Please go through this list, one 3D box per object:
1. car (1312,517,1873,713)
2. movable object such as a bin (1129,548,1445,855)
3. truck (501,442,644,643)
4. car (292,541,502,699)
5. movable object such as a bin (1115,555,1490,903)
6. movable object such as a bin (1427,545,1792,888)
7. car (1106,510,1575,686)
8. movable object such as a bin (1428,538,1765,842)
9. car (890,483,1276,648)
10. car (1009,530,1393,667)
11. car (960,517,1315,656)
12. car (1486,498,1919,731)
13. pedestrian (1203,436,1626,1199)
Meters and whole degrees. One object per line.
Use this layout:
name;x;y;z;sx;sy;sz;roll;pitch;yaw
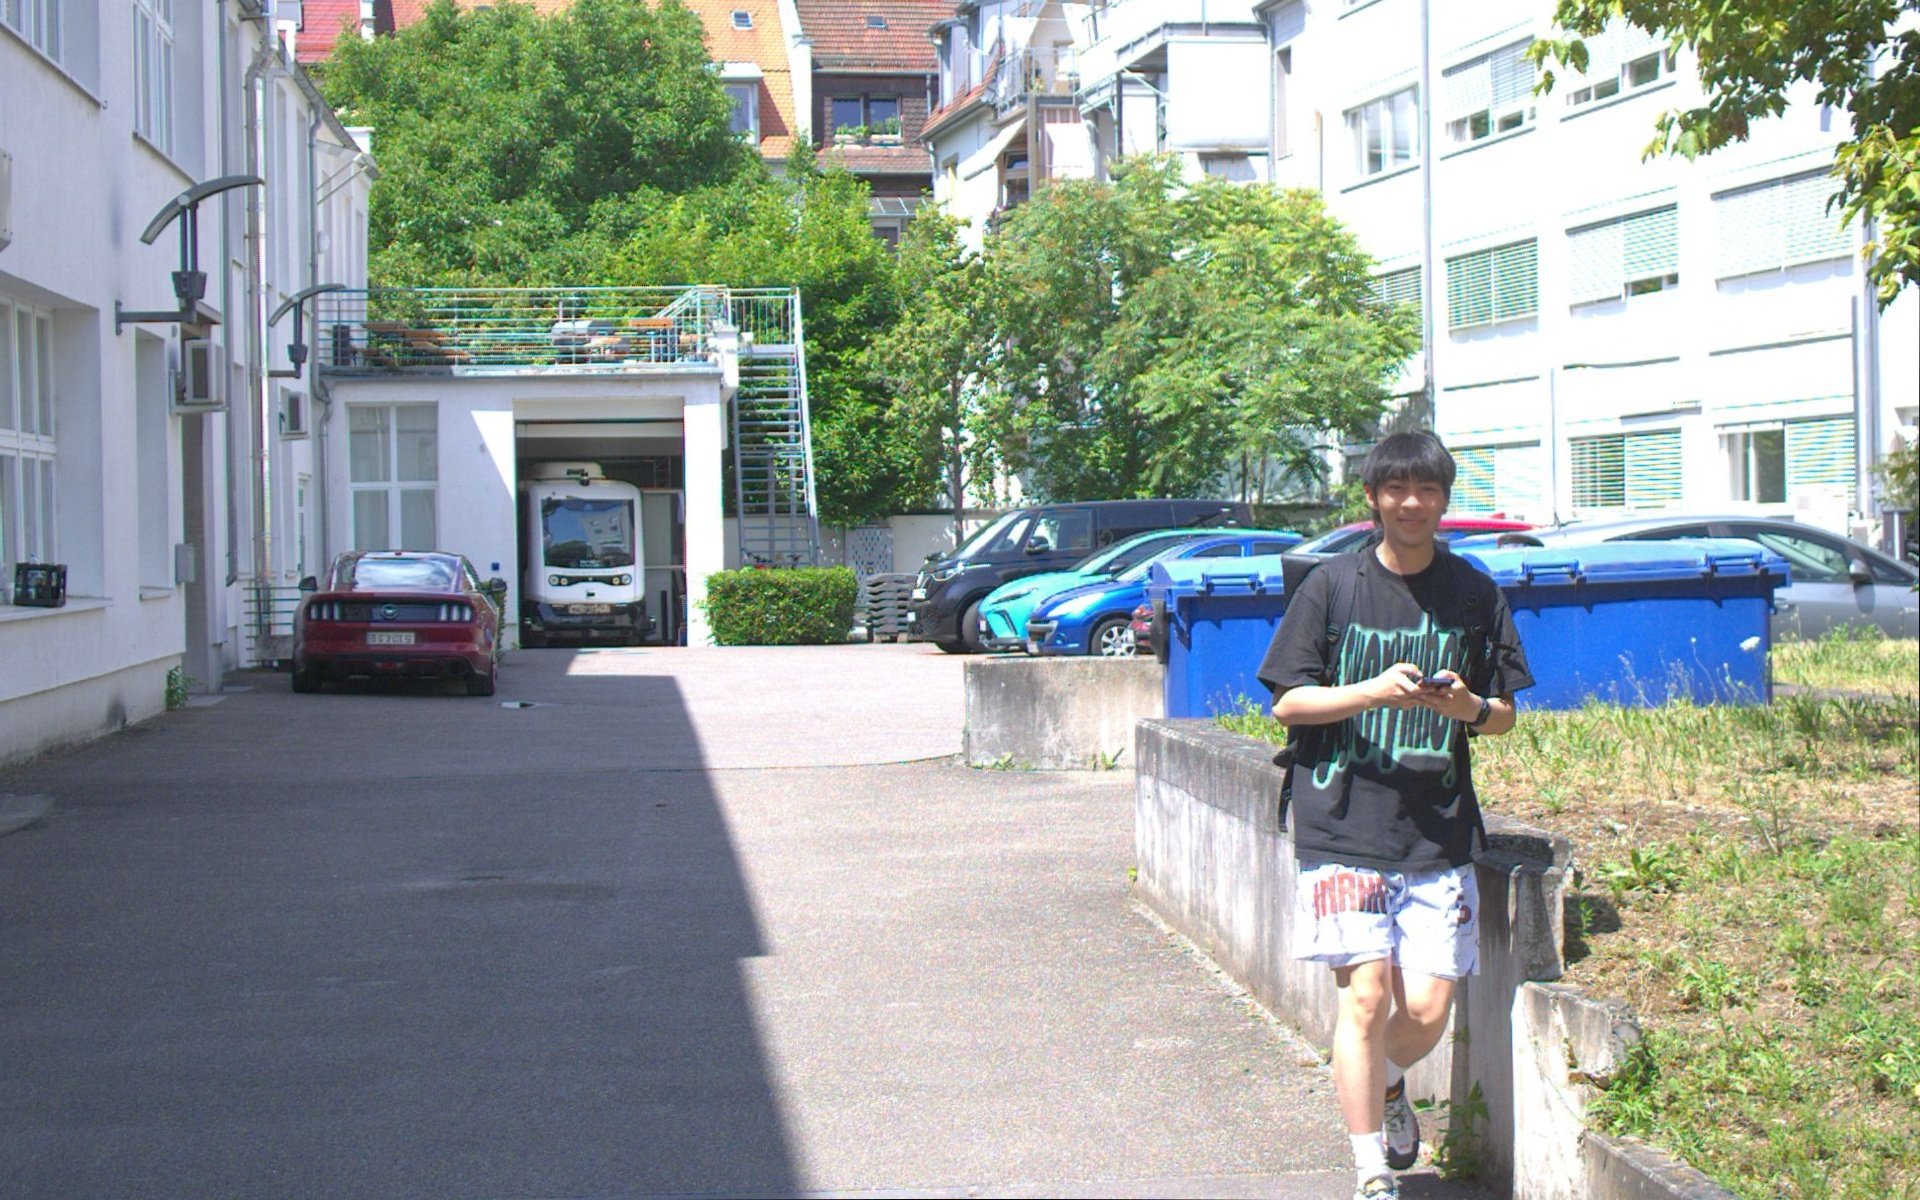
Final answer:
car;4.967;0.091;27.260;3.986;1.385;1.805;-2;1;-7
movable object such as a bin;1.488;0.441;15.876;1.192;1.322;1.161;-2;1;-7
truck;-5.999;-0.893;52.849;1.787;2.927;4.654;-1;1;-11
car;-5.456;0.148;33.701;1.798;1.385;4.001;-2;1;-6
movable object such as a bin;1.375;0.499;14.104;1.339;1.322;1.161;-2;1;-3
movable object such as a bin;2.663;0.454;14.243;1.216;1.322;1.161;-2;1;-3
car;3.490;-0.044;31.933;3.986;1.473;1.805;-2;1;-7
movable object such as a bin;2.938;0.392;15.992;1.216;1.322;1.161;-2;1;-7
car;1.548;-0.467;44.466;4.676;1.951;2.077;-2;1;-7
car;2.662;-0.039;38.528;3.986;1.385;1.805;-2;1;-7
car;2.106;-0.185;41.468;3.986;1.529;1.805;-2;1;-7
car;5.849;0.051;23.810;3.986;1.473;1.805;-2;1;-7
pedestrian;0.971;0.531;7.488;0.757;1.749;0.751;-1;1;-4
